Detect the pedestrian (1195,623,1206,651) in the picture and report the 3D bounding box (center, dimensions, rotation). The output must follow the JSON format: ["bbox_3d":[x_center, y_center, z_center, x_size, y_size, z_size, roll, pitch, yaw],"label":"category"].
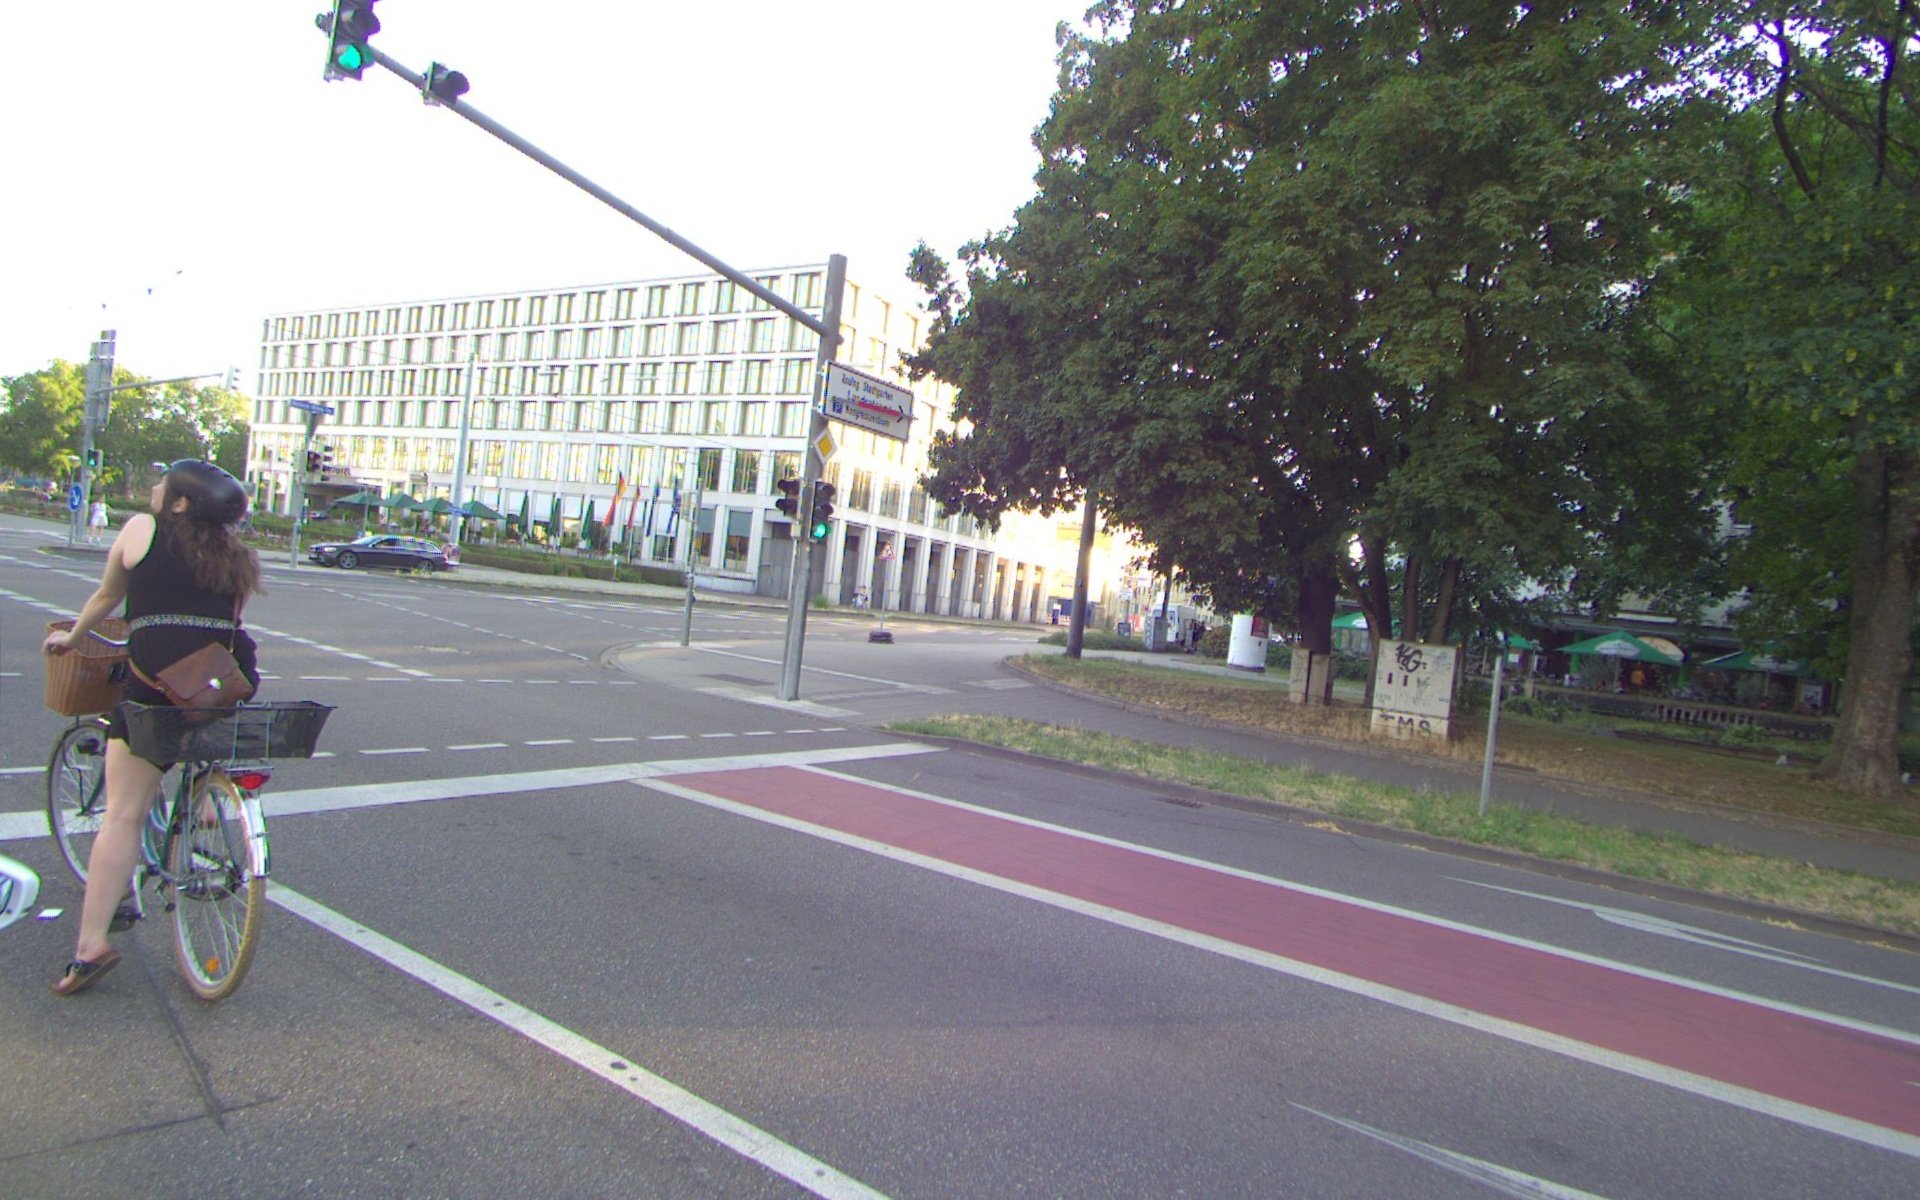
[{"bbox_3d":[13.336,2.037,55.757,0.302,1.525,0.336,7,-1,31],"label":"pedestrian"}]

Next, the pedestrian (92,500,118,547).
[{"bbox_3d":[-29.822,-2.674,35.074,0.402,1.559,0.491,7,2,31],"label":"pedestrian"}]

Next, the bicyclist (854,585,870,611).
[{"bbox_3d":[-6.207,-0.132,63.961,0.567,1.556,0.708,7,1,29],"label":"bicyclist"}]

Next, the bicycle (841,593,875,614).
[{"bbox_3d":[-6.442,0.251,63.605,0.592,1.120,2.775,7,0,29],"label":"bicycle"}]

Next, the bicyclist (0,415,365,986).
[{"bbox_3d":[-2.692,0.270,3.419,0.982,1.655,0.600,7,0,32],"label":"bicyclist"}]

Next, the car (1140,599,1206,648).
[{"bbox_3d":[11.768,1.337,55.354,1.967,2.318,4.605,6,0,31],"label":"car"}]

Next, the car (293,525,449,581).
[{"bbox_3d":[-23.000,-1.801,39.469,1.968,1.534,4.826,7,0,34],"label":"car"}]

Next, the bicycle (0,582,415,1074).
[{"bbox_3d":[-2.786,0.617,3.445,1.971,1.146,0.612,7,-1,32],"label":"bicycle"}]
